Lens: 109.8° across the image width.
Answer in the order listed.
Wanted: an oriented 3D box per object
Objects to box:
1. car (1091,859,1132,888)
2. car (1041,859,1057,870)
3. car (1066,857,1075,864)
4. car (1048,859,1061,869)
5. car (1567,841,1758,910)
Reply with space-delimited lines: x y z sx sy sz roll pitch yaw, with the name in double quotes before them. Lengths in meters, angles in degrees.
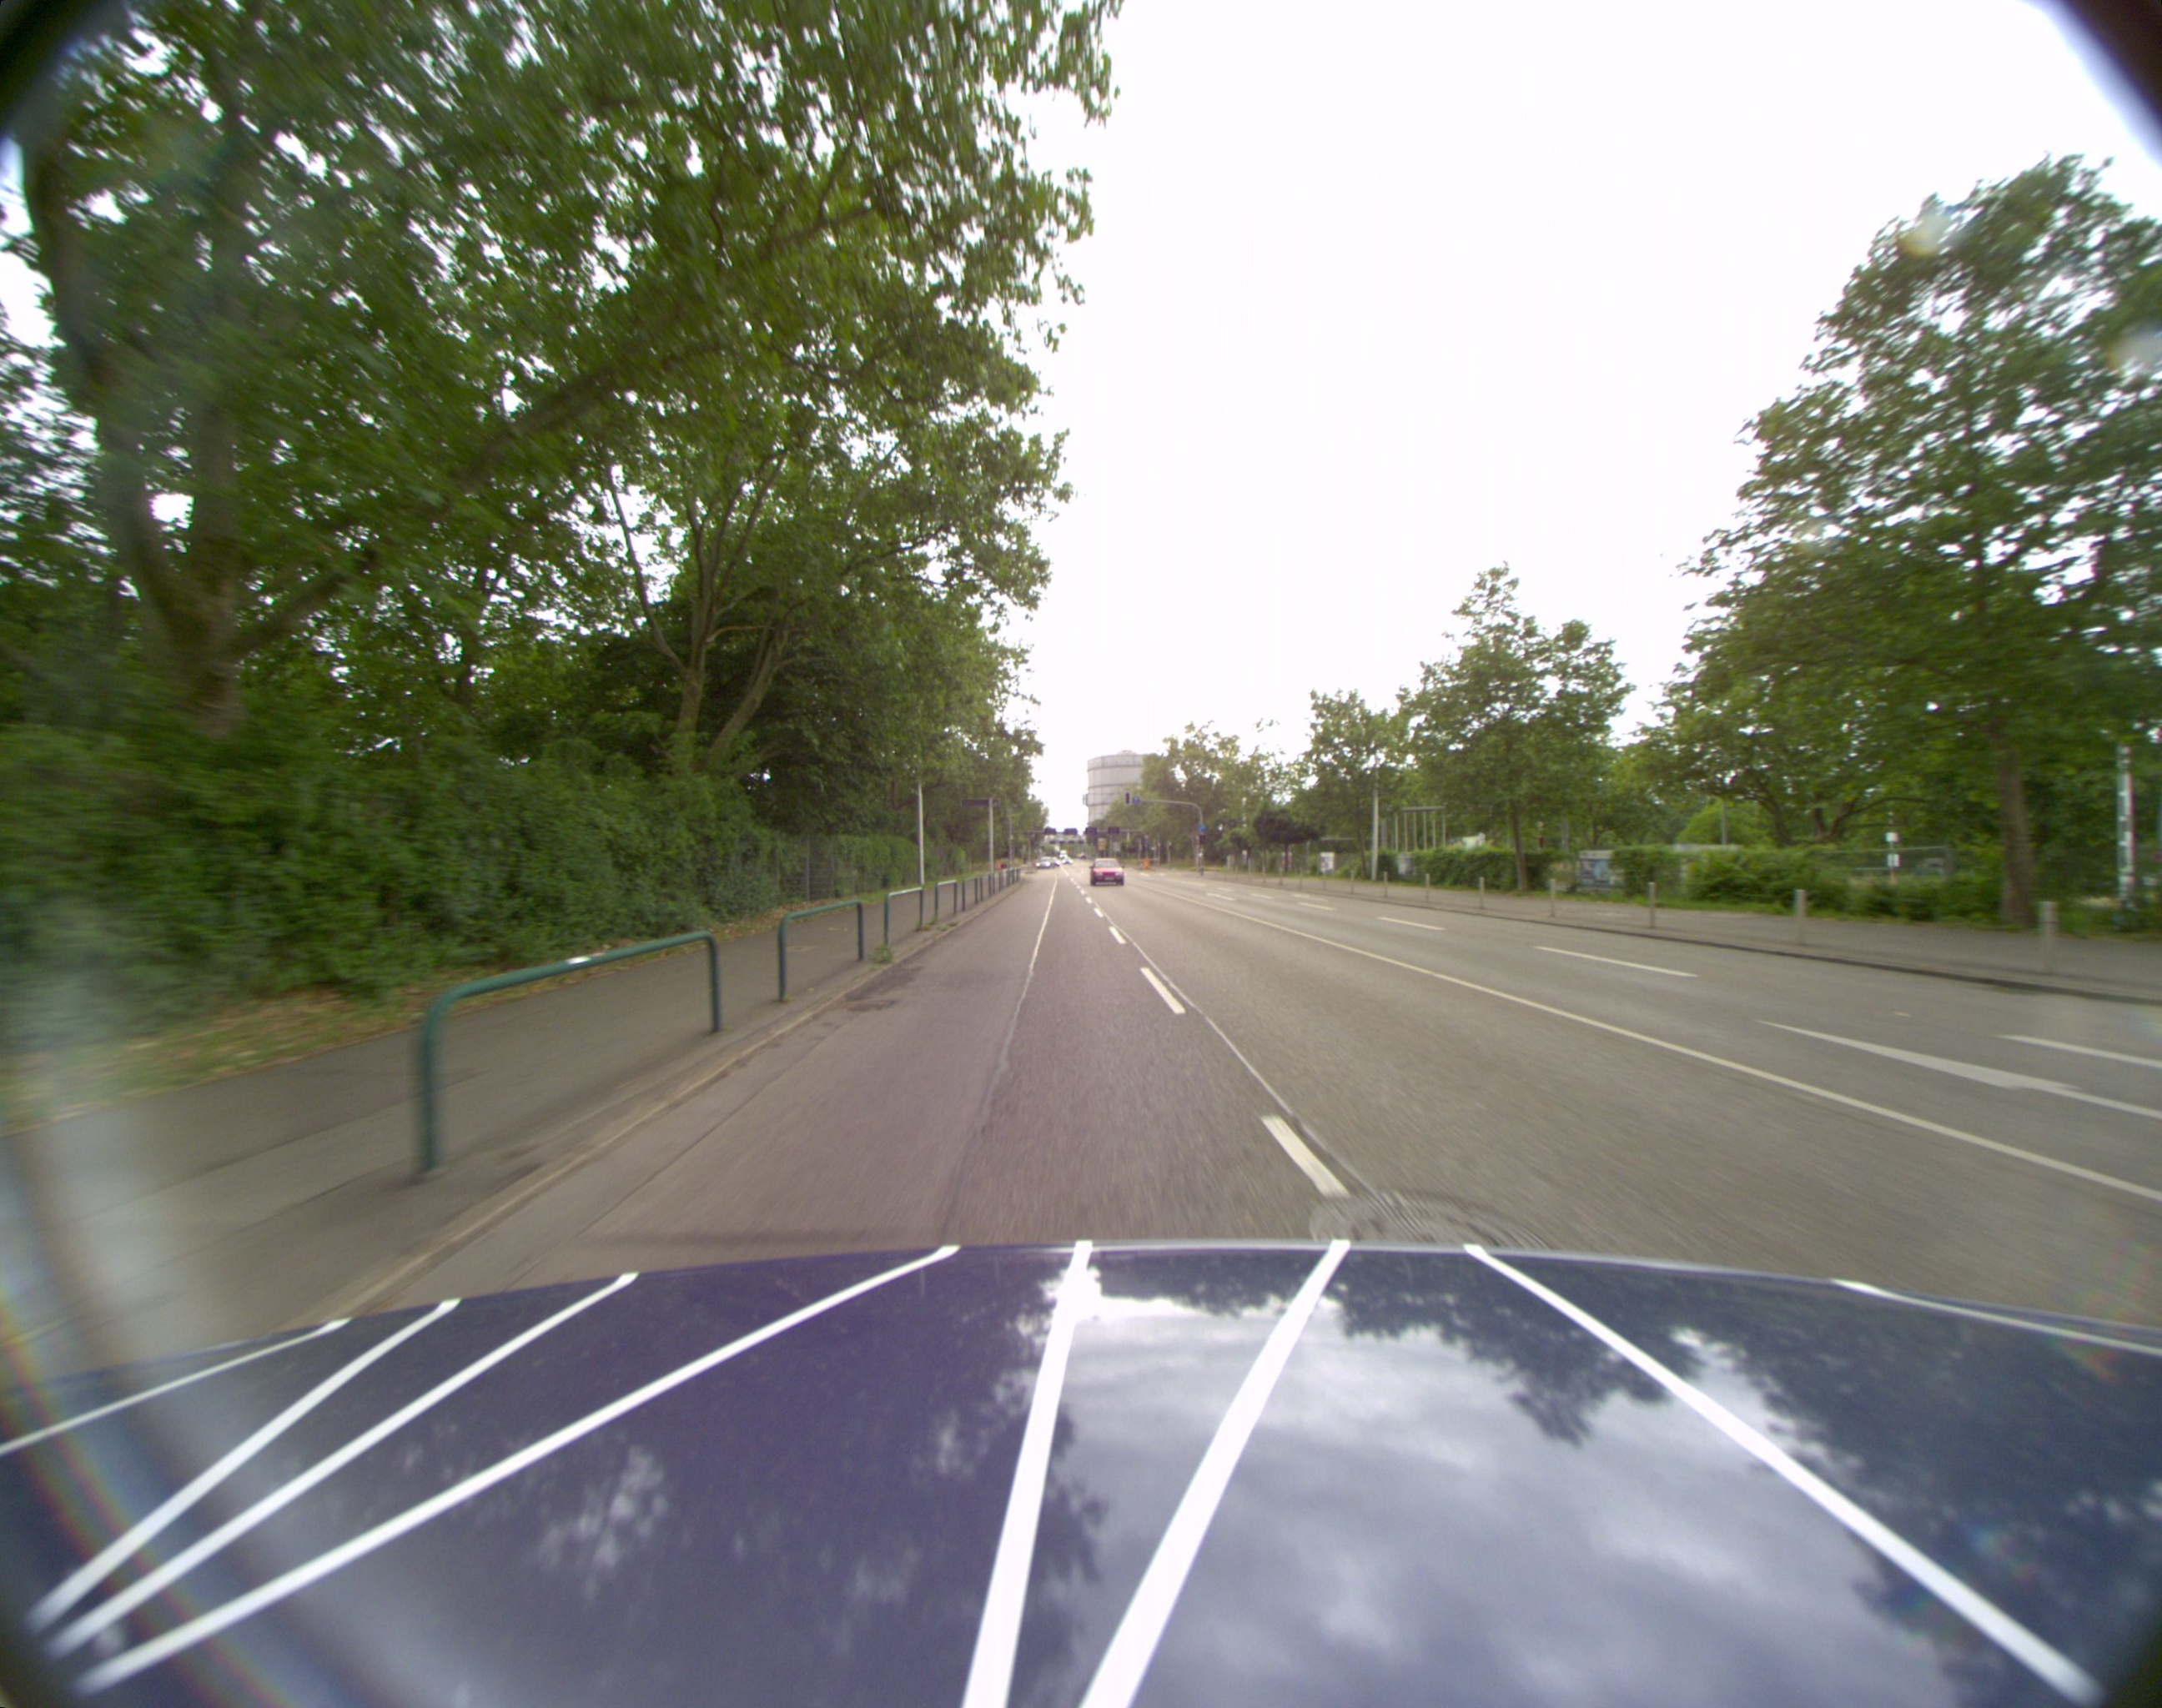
"car" 1.595 1.025 41.324 1.834 1.443 4.075 -2 0 -3
"car" -4.382 1.444 104.676 1.740 1.363 3.873 0 0 3
"car" -2.244 1.380 160.283 1.799 1.501 3.999 -1 0 -2
"car" -4.223 1.595 122.257 1.798 1.501 4.000 -2 0 2
"car" 18.536 0.627 24.576 2.393 2.002 4.633 0 0 -6
